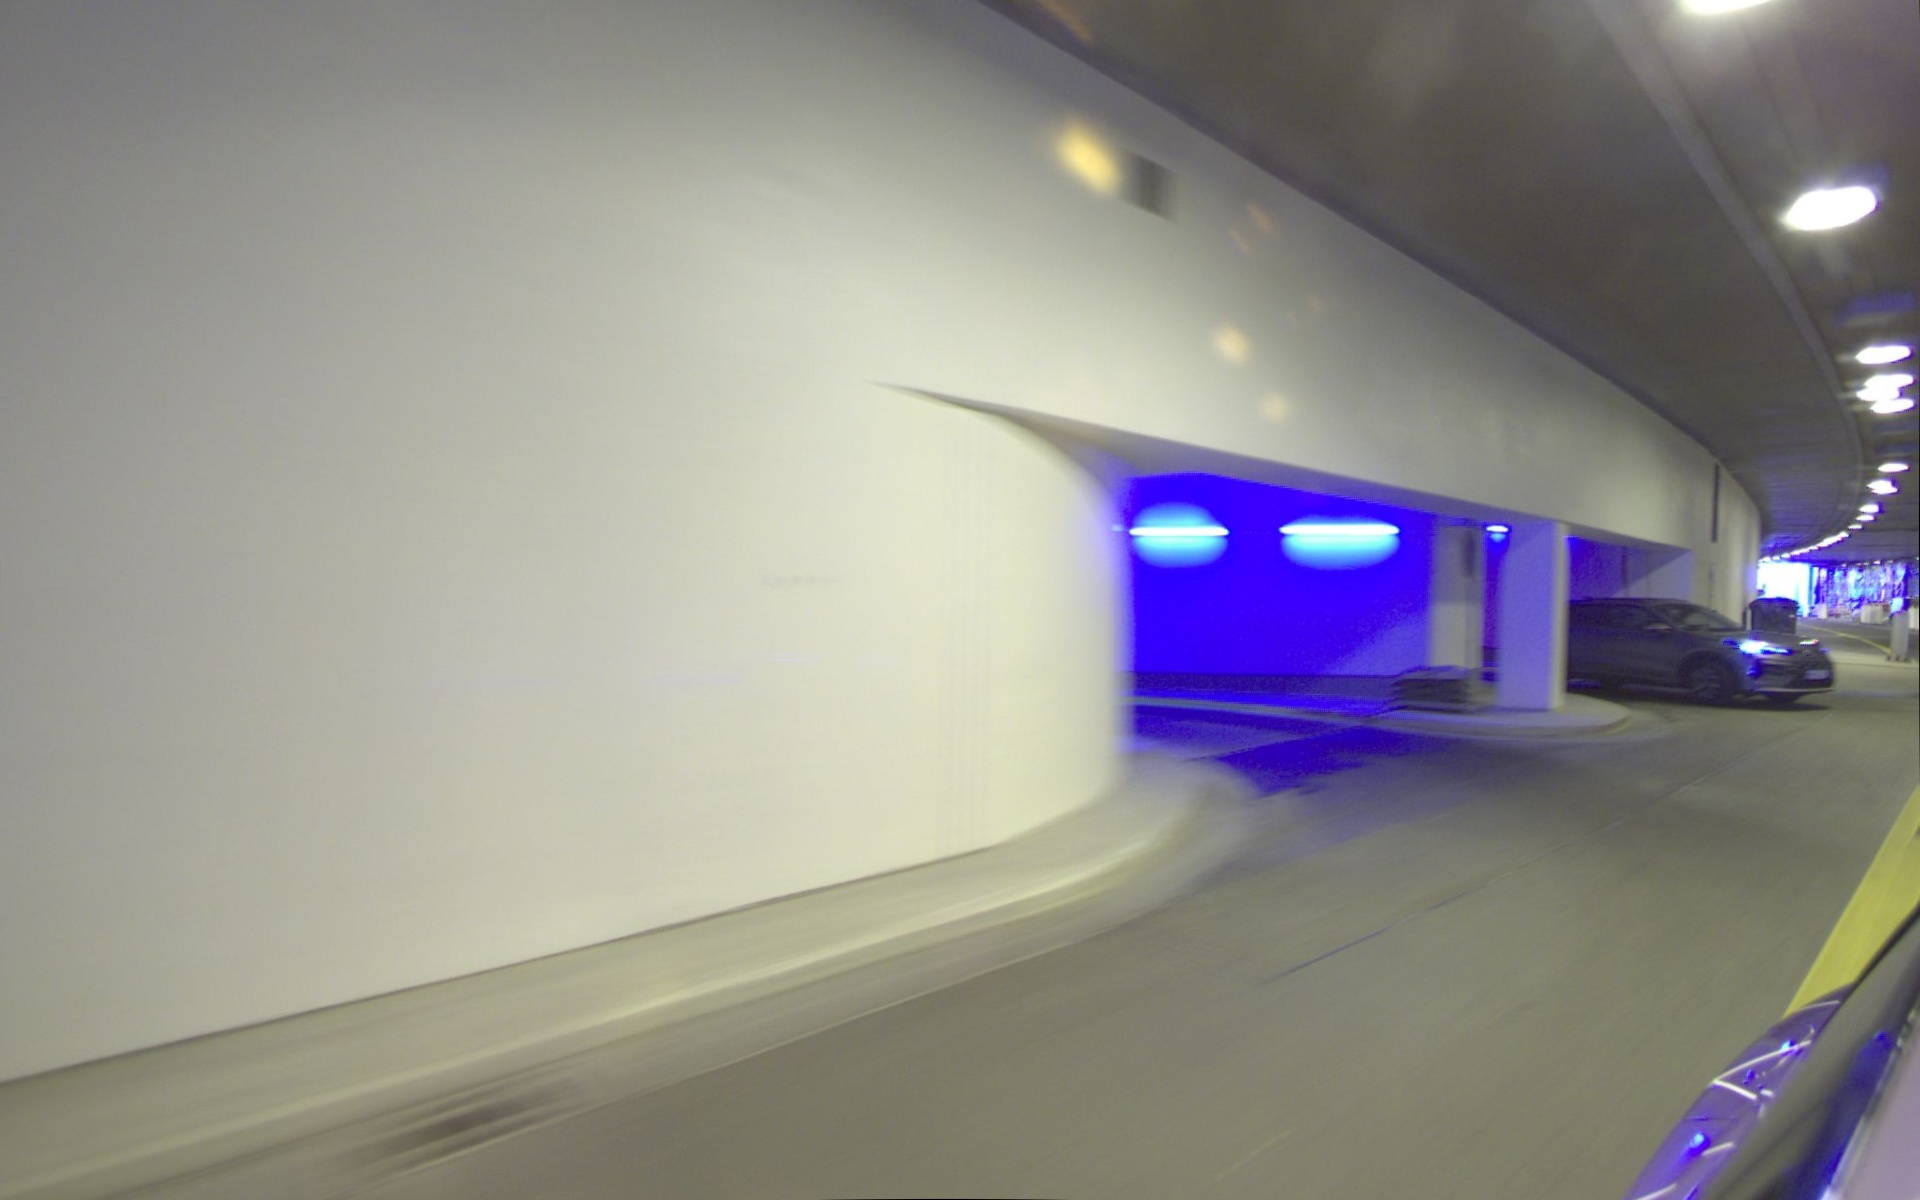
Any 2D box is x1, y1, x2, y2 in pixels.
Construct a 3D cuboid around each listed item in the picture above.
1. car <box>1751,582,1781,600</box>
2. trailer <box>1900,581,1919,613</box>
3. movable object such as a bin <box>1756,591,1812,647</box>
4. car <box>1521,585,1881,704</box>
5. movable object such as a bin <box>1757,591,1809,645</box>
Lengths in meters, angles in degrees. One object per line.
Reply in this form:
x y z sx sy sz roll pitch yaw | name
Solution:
81.800 -0.884 102.710 1.986 1.775 3.953 0 1 33 | car
56.702 -0.183 59.425 1.632 1.813 3.088 0 1 31 | trailer
22.298 0.490 27.385 1.144 1.463 1.344 0 1 41 | movable object such as a bin
11.298 0.561 15.846 1.858 1.565 4.249 0 1 -19 | car
23.164 0.480 28.474 1.096 1.463 1.303 0 1 41 | movable object such as a bin
